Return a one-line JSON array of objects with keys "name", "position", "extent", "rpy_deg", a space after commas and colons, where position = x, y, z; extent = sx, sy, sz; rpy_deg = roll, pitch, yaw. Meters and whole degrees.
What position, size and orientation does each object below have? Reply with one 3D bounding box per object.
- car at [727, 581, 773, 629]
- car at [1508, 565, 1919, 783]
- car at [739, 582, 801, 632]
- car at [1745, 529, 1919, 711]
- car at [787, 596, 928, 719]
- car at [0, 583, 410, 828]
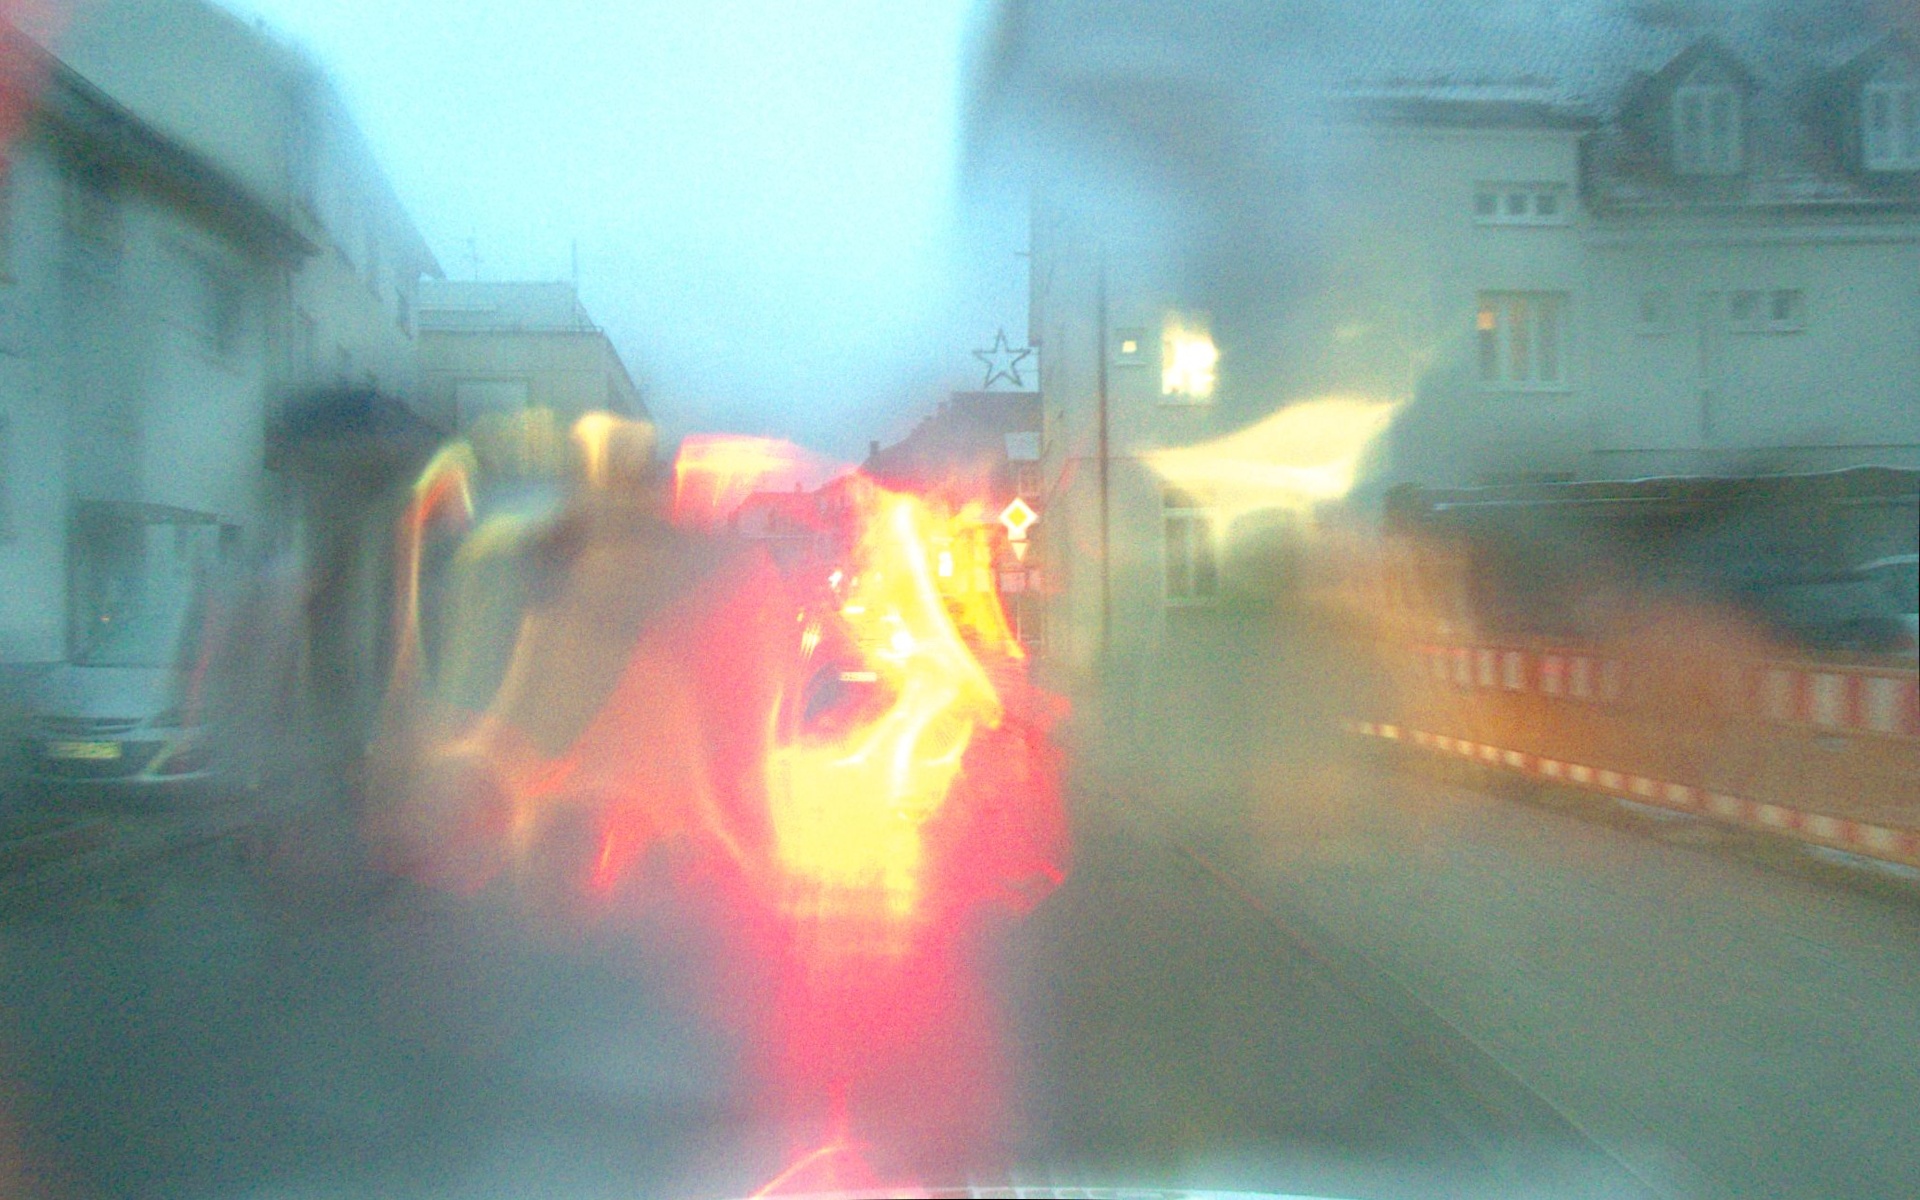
[{"name": "car", "position": [-10.162, 0.246, 80.224], "extent": [1.954, 2.241, 3.997], "rpy_deg": [0, 0, -4]}, {"name": "car", "position": [6.167, 0.499, 13.355], "extent": [1.852, 1.488, 3.626], "rpy_deg": [-1, 0, -9]}, {"name": "car", "position": [-6.289, 0.228, 54.953], "extent": [1.955, 1.616, 3.994], "rpy_deg": [0, 0, -6]}, {"name": "car", "position": [8.635, 0.123, 14.229], "extent": [1.688, 1.487, 3.628], "rpy_deg": [-3, 0, -7]}, {"name": "car", "position": [-1.489, 0.728, 23.036], "extent": [1.779, 1.560, 3.995], "rpy_deg": [0, 0, -6]}, {"name": "car", "position": [-6.231, 0.705, 13.630], "extent": [1.873, 1.555, 4.546], "rpy_deg": [4, 1, -1]}]
